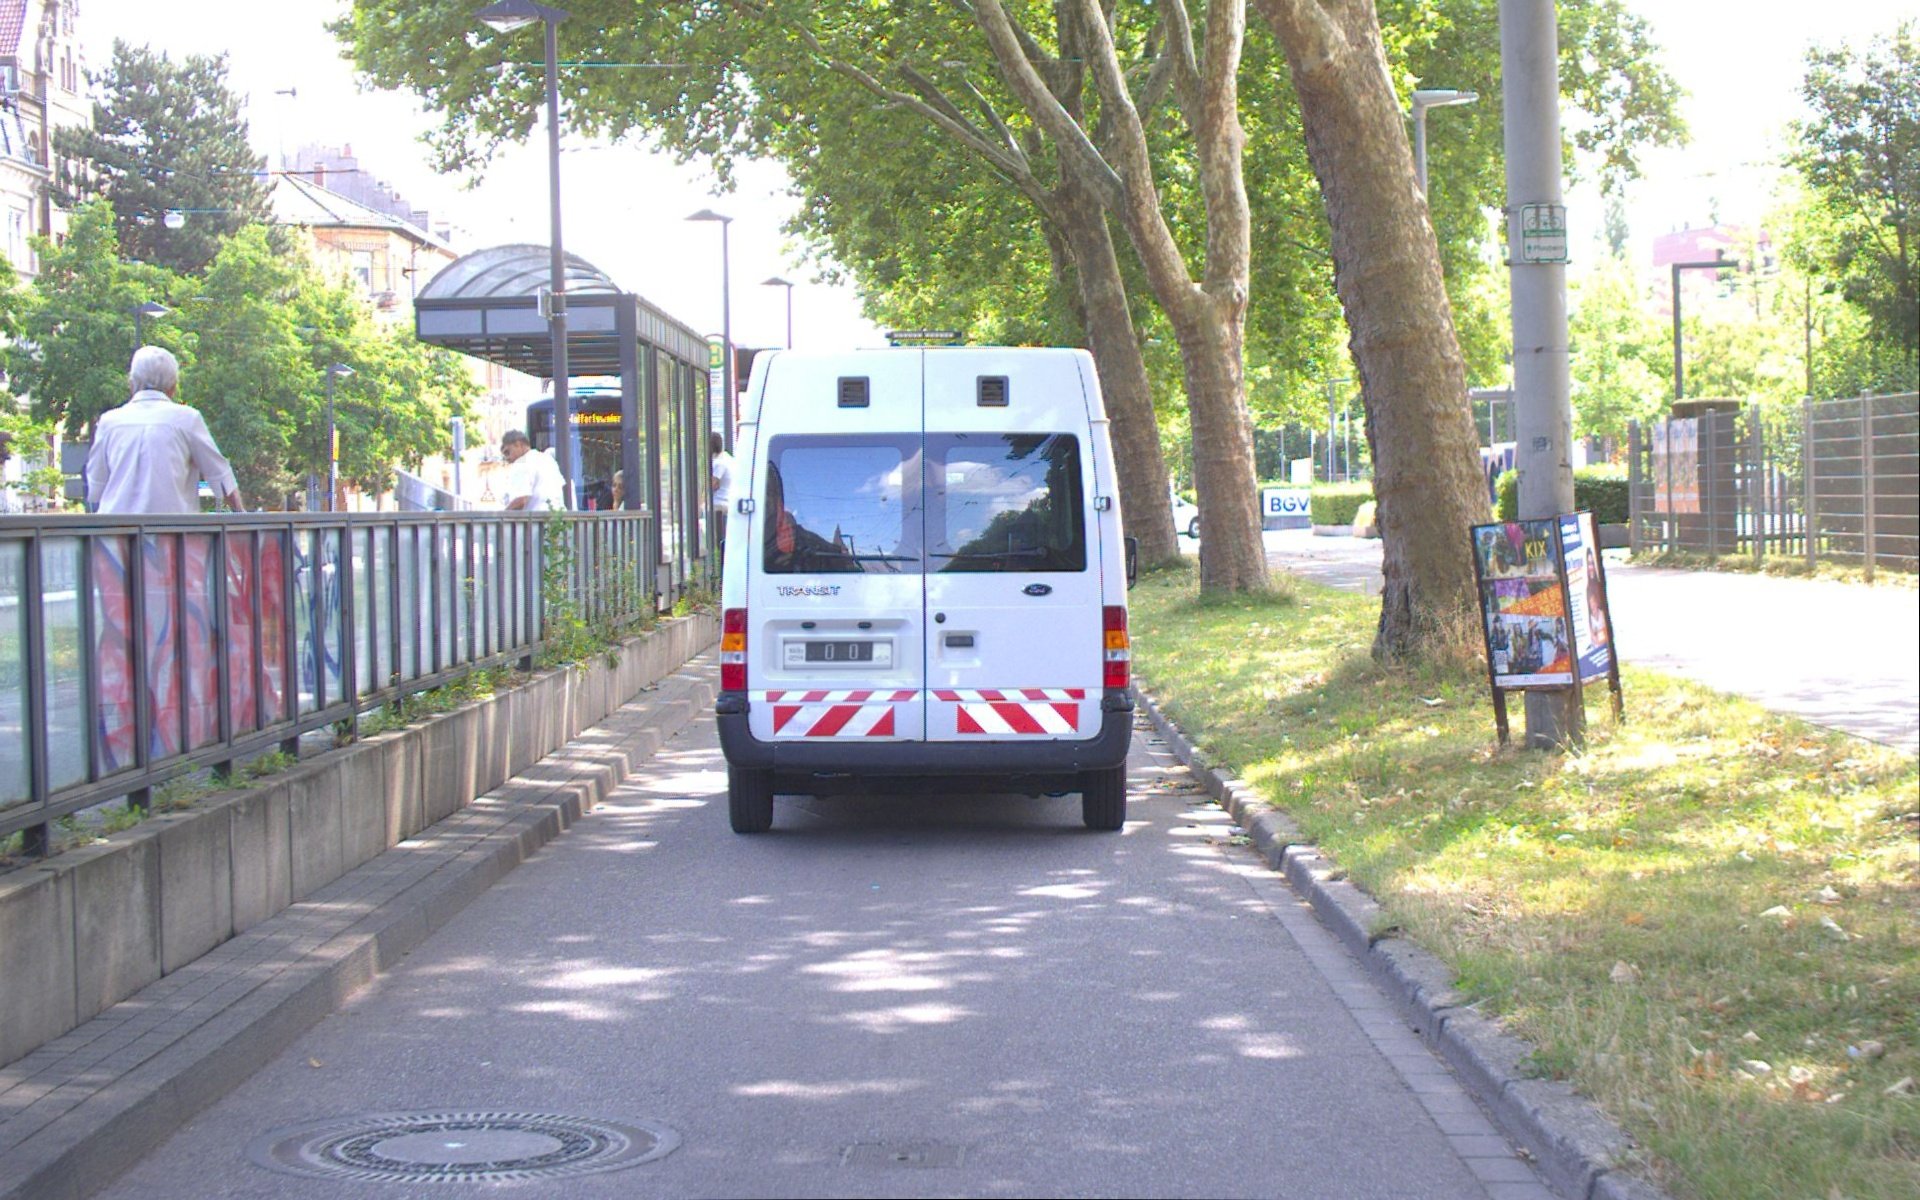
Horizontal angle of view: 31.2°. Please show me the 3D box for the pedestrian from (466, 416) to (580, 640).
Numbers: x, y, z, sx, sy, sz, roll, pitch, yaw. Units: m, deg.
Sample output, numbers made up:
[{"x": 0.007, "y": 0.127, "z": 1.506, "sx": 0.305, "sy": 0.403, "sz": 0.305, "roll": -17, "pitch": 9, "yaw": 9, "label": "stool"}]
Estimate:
[{"x": -3.011, "y": -0.501, "z": 23.747, "sx": 0.676, "sy": 1.510, "sz": 0.596, "roll": -1, "pitch": 2, "yaw": -1, "label": "pedestrian"}]

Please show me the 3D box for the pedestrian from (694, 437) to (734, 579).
[{"x": -2.768, "y": -1.036, "z": 38.689, "sx": 0.385, "sy": 1.586, "sz": 0.439, "roll": -2, "pitch": 2, "yaw": -1, "label": "pedestrian"}]

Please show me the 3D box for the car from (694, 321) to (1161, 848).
[{"x": -0.185, "y": -0.158, "z": 17.814, "sx": 2.047, "sy": 2.325, "sz": 4.715, "roll": -1, "pitch": 2, "yaw": -1, "label": "car"}]

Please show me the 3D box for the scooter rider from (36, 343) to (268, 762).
[{"x": -3.134, "y": -0.193, "z": 13.409, "sx": 0.654, "sy": 1.565, "sz": 0.901, "roll": -1, "pitch": 2, "yaw": 0, "label": "scooter rider"}]

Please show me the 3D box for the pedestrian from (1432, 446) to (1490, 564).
[{"x": 7.009, "y": -1.332, "z": 48.115, "sx": 0.693, "sy": 1.620, "sz": 0.637, "roll": -1, "pitch": 2, "yaw": 0, "label": "pedestrian"}]

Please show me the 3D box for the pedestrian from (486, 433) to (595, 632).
[{"x": -3.017, "y": -0.487, "z": 24.770, "sx": 0.676, "sy": 1.398, "sz": 0.596, "roll": -1, "pitch": 2, "yaw": -1, "label": "pedestrian"}]

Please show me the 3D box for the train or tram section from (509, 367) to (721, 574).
[{"x": -6.466, "y": -2.451, "z": 66.524, "sx": 2.723, "sy": 3.571, "sz": 13.017, "roll": -1, "pitch": 2, "yaw": 0, "label": "train or tram section"}]
